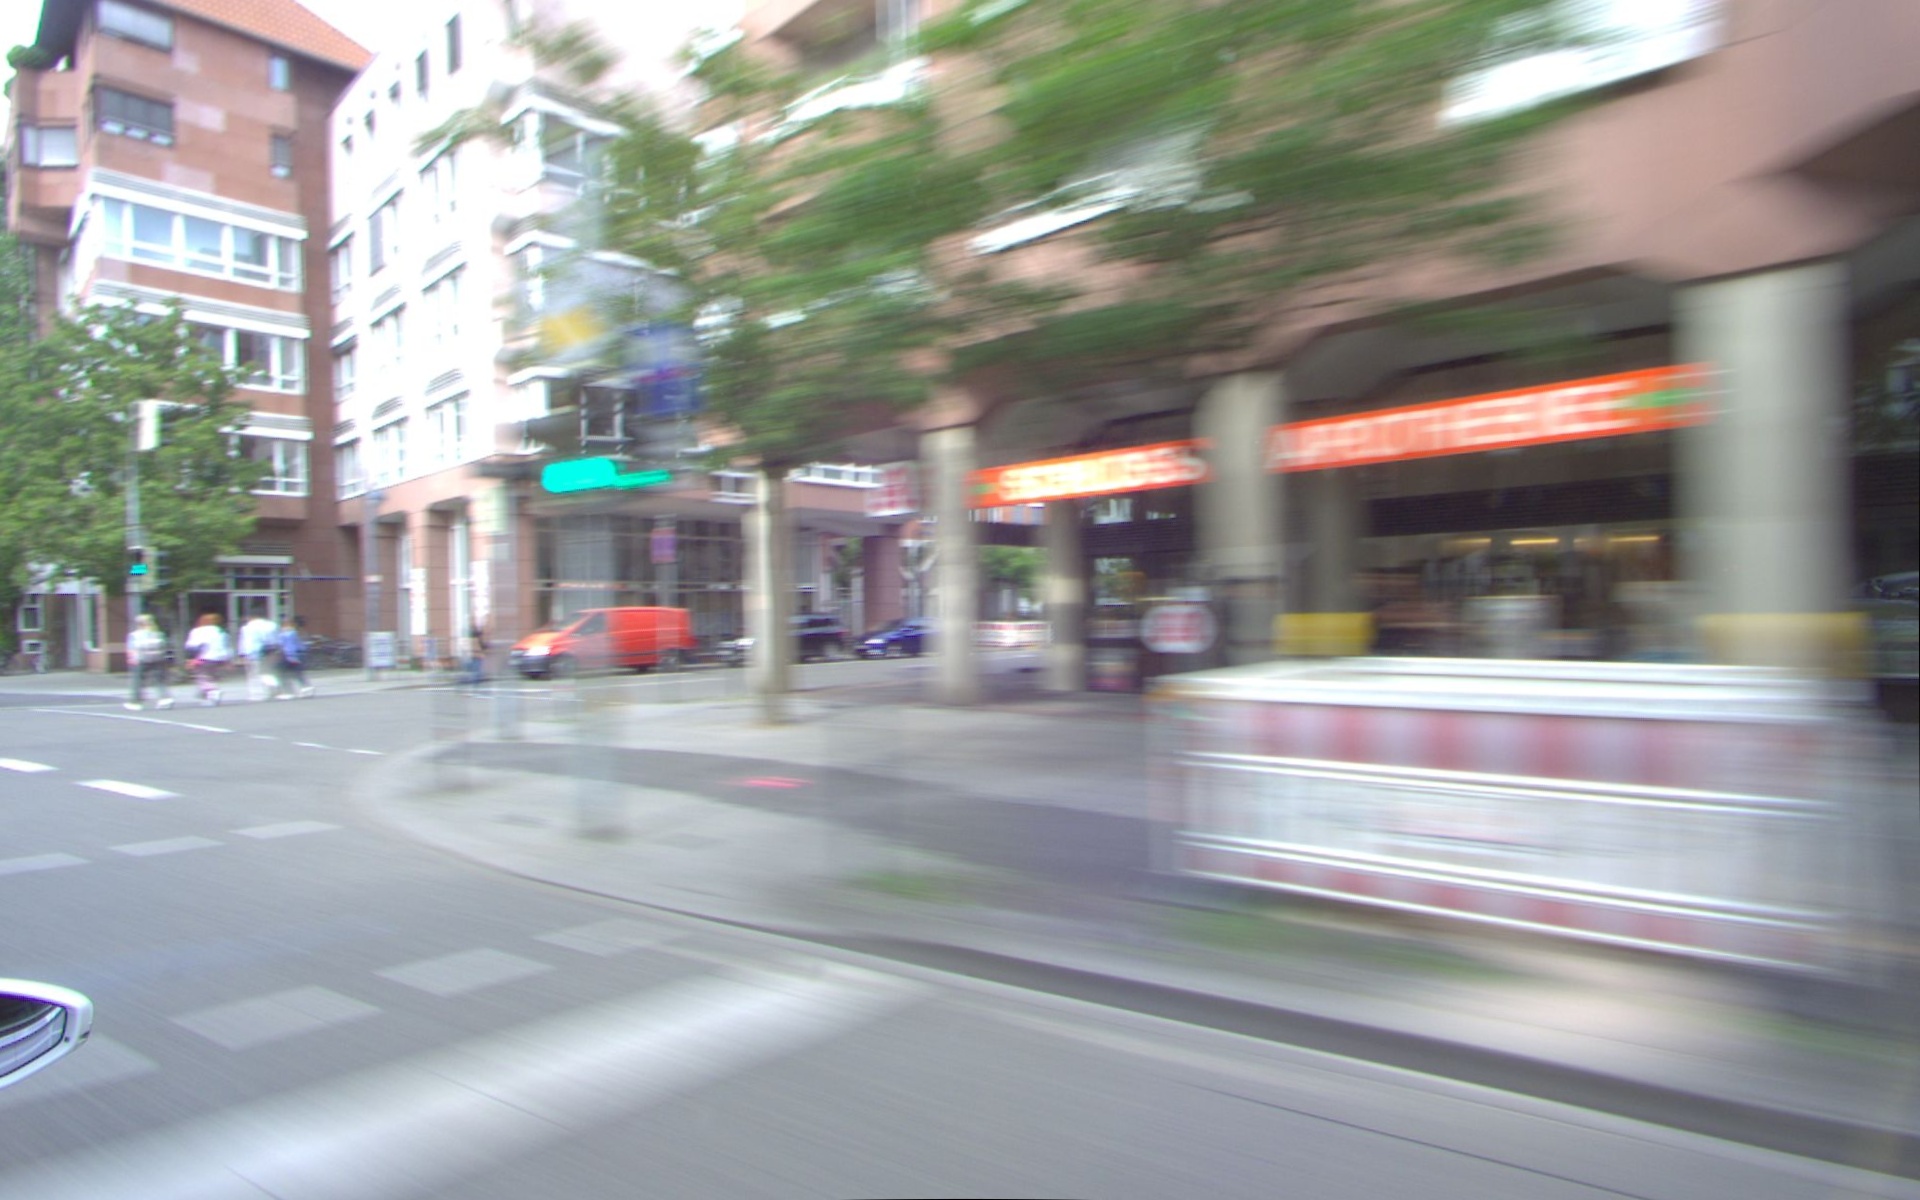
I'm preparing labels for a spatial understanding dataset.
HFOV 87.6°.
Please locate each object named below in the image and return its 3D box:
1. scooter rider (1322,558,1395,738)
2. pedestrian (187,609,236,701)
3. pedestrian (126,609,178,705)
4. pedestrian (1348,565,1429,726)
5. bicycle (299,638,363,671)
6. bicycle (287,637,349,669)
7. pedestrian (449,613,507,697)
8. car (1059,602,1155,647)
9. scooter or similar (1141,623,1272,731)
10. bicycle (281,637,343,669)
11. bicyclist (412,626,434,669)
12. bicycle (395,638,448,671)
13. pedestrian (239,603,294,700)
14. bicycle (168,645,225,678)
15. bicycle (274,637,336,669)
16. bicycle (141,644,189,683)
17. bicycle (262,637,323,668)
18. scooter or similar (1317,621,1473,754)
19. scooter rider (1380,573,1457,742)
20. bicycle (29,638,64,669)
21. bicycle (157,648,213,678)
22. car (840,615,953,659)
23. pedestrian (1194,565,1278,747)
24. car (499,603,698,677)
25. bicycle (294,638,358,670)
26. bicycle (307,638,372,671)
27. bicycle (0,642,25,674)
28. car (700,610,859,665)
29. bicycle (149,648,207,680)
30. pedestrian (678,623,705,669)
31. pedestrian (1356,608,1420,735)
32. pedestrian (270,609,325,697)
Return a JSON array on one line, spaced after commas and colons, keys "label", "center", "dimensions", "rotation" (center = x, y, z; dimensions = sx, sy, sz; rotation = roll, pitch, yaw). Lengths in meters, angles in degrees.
[{"label": "scooter rider", "center": [4.001, 0.470, 10.055], "dimensions": [0.546, 1.743, 0.460], "rotation": [-1, 0, 41]}, {"label": "pedestrian", "center": [-13.580, 0.980, 18.157], "dimensions": [0.840, 1.637, 0.514], "rotation": [-1, 0, 39]}, {"label": "pedestrian", "center": [-14.168, 0.986, 17.553], "dimensions": [0.840, 1.637, 0.515], "rotation": [-1, 0, 37]}, {"label": "pedestrian", "center": [5.006, 0.520, 11.713], "dimensions": [0.545, 1.823, 0.654], "rotation": [-1, 0, -27]}, {"label": "bicycle", "center": [-20.731, 1.782, 33.022], "dimensions": [0.540, 1.021, 1.722], "rotation": [-1, -1, 39]}, {"label": "bicycle", "center": [-21.760, 1.800, 33.957], "dimensions": [0.419, 1.021, 1.722], "rotation": [-1, -1, 39]}, {"label": "pedestrian", "center": [-9.250, 1.043, 19.204], "dimensions": [0.936, 1.558, 0.672], "rotation": [-1, 0, 40]}, {"label": "car", "center": [6.711, 1.094, 45.385], "dimensions": [1.966, 1.925, 4.642], "rotation": [-1, -1, 44]}, {"label": "scooter or similar", "center": [2.877, 0.869, 11.752], "dimensions": [1.390, 1.185, 0.551], "rotation": [-1, 0, 42]}, {"label": "bicycle", "center": [-22.153, 1.810, 34.239], "dimensions": [0.473, 1.021, 1.722], "rotation": [-1, -1, 39]}, {"label": "bicyclist", "center": [-15.703, 1.383, 29.282], "dimensions": [0.489, 1.261, 0.479], "rotation": [-1, 0, -20]}, {"label": "bicycle", "center": [-15.727, 1.587, 29.288], "dimensions": [1.297, 0.927, 0.474], "rotation": [0, 0, -21]}, {"label": "pedestrian", "center": [-13.524, 0.986, 19.527], "dimensions": [0.840, 1.852, 0.673], "rotation": [-1, 0, 39]}, {"label": "bicycle", "center": [-22.927, 1.838, 30.094], "dimensions": [1.286, 0.880, 0.451], "rotation": [-4, 1, -36]}, {"label": "bicycle", "center": [-22.578, 1.820, 34.542], "dimensions": [0.466, 1.021, 1.722], "rotation": [-1, -1, 39]}, {"label": "bicycle", "center": [-21.983, 1.748, 27.686], "dimensions": [1.713, 1.021, 0.615], "rotation": [-1, -1, 37]}, {"label": "bicycle", "center": [-23.396, 1.844, 35.127], "dimensions": [0.425, 1.021, 1.722], "rotation": [-1, -1, 39]}, {"label": "scooter or similar", "center": [4.253, 0.824, 9.834], "dimensions": [1.315, 1.222, 0.471], "rotation": [-1, 0, 42]}, {"label": "scooter rider", "center": [4.431, 0.542, 9.673], "dimensions": [0.558, 1.577, 0.458], "rotation": [-1, 0, 41]}, {"label": "bicycle", "center": [-31.497, 1.837, 34.537], "dimensions": [1.714, 1.021, 0.614], "rotation": [-1, -1, 38]}, {"label": "bicycle", "center": [-22.894, 1.844, 29.606], "dimensions": [1.286, 0.824, 0.441], "rotation": [0, -1, -36]}, {"label": "car", "center": [-2.237, 1.313, 35.989], "dimensions": [1.709, 1.423, 3.944], "rotation": [-3, -2, 44]}, {"label": "pedestrian", "center": [2.877, 0.566, 10.440], "dimensions": [0.650, 1.823, 0.548], "rotation": [-1, 0, 43]}, {"label": "car", "center": [-9.915, 1.066, 27.721], "dimensions": [1.980, 1.848, 4.798], "rotation": [-4, -3, 44]}, {"label": "bicycle", "center": [-21.161, 1.789, 33.422], "dimensions": [0.540, 1.021, 1.722], "rotation": [-1, -1, 39]}, {"label": "bicycle", "center": [-20.236, 1.772, 32.681], "dimensions": [0.540, 1.021, 1.722], "rotation": [-1, -1, 39]}, {"label": "bicycle", "center": [-31.890, 1.928, 33.518], "dimensions": [1.714, 1.021, 0.614], "rotation": [-1, -1, 38]}, {"label": "car", "center": [-5.742, 1.187, 32.304], "dimensions": [1.980, 1.610, 4.798], "rotation": [-4, -3, 44]}, {"label": "bicycle", "center": [-22.683, 1.846, 29.054], "dimensions": [1.288, 0.849, 0.450], "rotation": [0, -1, -41]}, {"label": "pedestrian", "center": [-9.603, 1.645, 35.821], "dimensions": [0.667, 1.600, 0.647], "rotation": [-1, 0, 42]}, {"label": "pedestrian", "center": [4.643, 0.757, 10.870], "dimensions": [0.483, 1.341, 0.480], "rotation": [-1, 0, -43]}, {"label": "pedestrian", "center": [-13.352, 1.044, 20.182], "dimensions": [1.010, 1.723, 0.648], "rotation": [-1, 0, 40]}]
